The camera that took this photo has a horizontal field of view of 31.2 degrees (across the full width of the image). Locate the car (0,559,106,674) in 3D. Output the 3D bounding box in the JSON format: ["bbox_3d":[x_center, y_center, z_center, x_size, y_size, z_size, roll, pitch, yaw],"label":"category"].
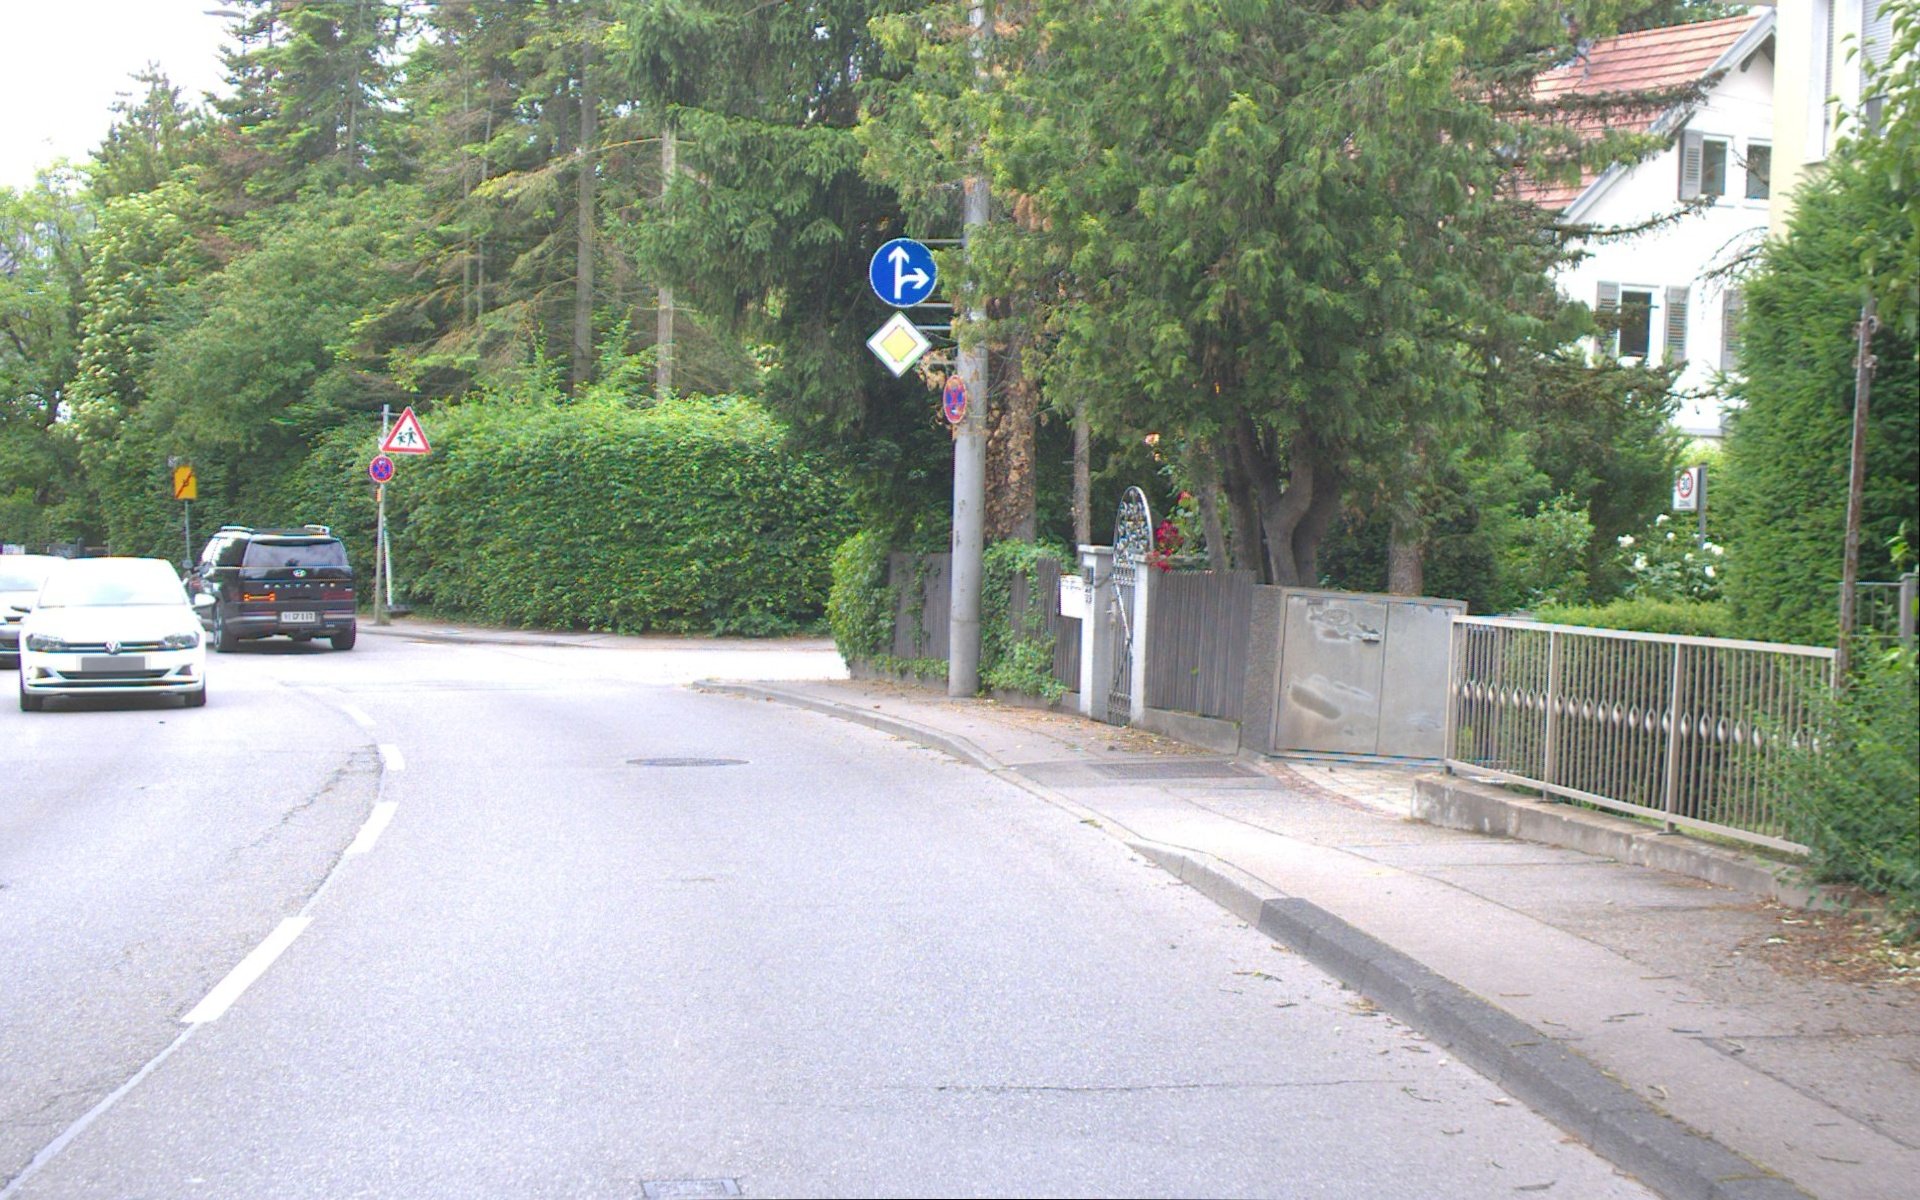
[{"bbox_3d":[-12.013,0.181,44.394,1.912,1.393,3.910,0,1,-14],"label":"car"}]

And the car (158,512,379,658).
[{"bbox_3d":[-9.885,-0.241,48.913,1.993,1.875,4.001,1,2,-28],"label":"car"}]

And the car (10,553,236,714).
[{"bbox_3d":[-8.275,0.283,34.268,1.902,1.449,3.798,-2,1,-10],"label":"car"}]

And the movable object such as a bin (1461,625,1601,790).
[{"bbox_3d":[3.784,0.703,22.824,0.777,1.045,0.783,1,1,0],"label":"movable object such as a bin"}]
